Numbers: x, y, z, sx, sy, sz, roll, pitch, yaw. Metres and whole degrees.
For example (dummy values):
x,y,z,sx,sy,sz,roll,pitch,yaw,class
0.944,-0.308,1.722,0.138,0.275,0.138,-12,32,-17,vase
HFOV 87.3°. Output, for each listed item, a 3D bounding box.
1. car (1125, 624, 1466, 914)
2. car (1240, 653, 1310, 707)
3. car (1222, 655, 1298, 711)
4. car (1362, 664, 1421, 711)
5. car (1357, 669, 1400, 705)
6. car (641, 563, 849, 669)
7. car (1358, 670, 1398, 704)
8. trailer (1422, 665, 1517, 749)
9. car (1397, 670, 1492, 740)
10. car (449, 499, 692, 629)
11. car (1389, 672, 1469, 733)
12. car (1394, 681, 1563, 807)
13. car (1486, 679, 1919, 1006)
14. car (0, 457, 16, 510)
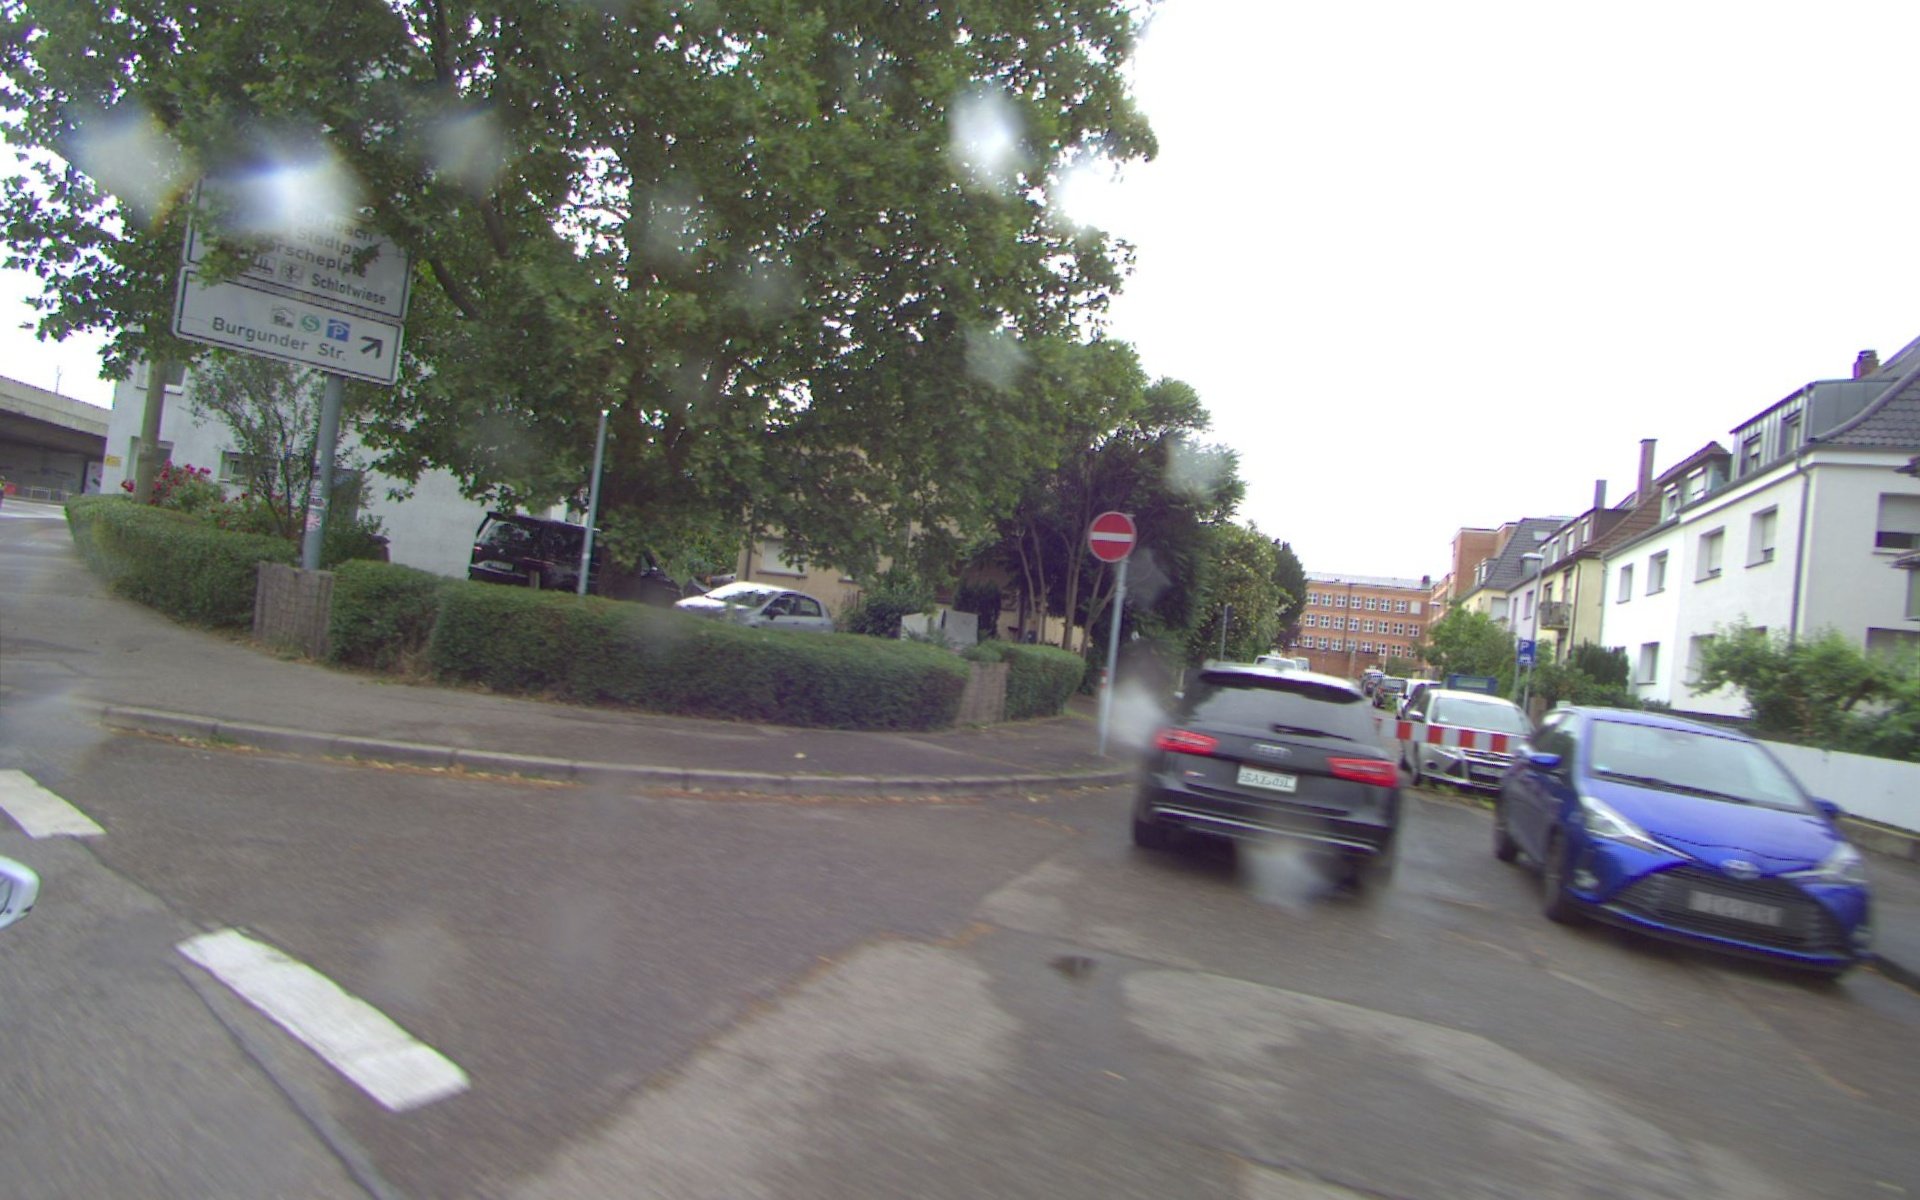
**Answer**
x,y,z,sx,sy,sz,roll,pitch,yaw,class
2.685,1.140,8.622,1.850,1.498,4.821,8,0,15,car
12.676,3.211,40.295,1.964,1.796,3.999,8,-1,25,car
10.582,2.890,35.302,1.964,1.575,4.000,8,-1,23,car
22.251,4.468,51.987,1.962,2.037,4.005,8,-2,14,car
27.697,5.724,66.639,1.962,2.037,4.004,8,-2,17,car
-4.060,0.389,19.691,1.790,1.599,3.999,8,-1,25,car
29.296,6.080,70.558,1.962,2.037,4.004,8,-2,17,car
14.858,3.060,29.526,1.640,2.037,3.493,8,-1,17,trailer
15.979,3.404,33.412,1.962,1.861,4.582,8,-1,18,car
-7.621,-0.604,20.207,1.963,1.955,4.417,8,-1,19,car
17.813,3.829,38.435,1.962,1.861,4.582,8,-1,18,car
8.170,2.194,16.200,1.739,1.470,3.787,8,-1,20,car
5.406,1.511,7.718,1.851,1.498,4.127,8,0,22,car
-29.972,-3.665,29.950,1.982,1.567,3.963,9,-2,-34,car
